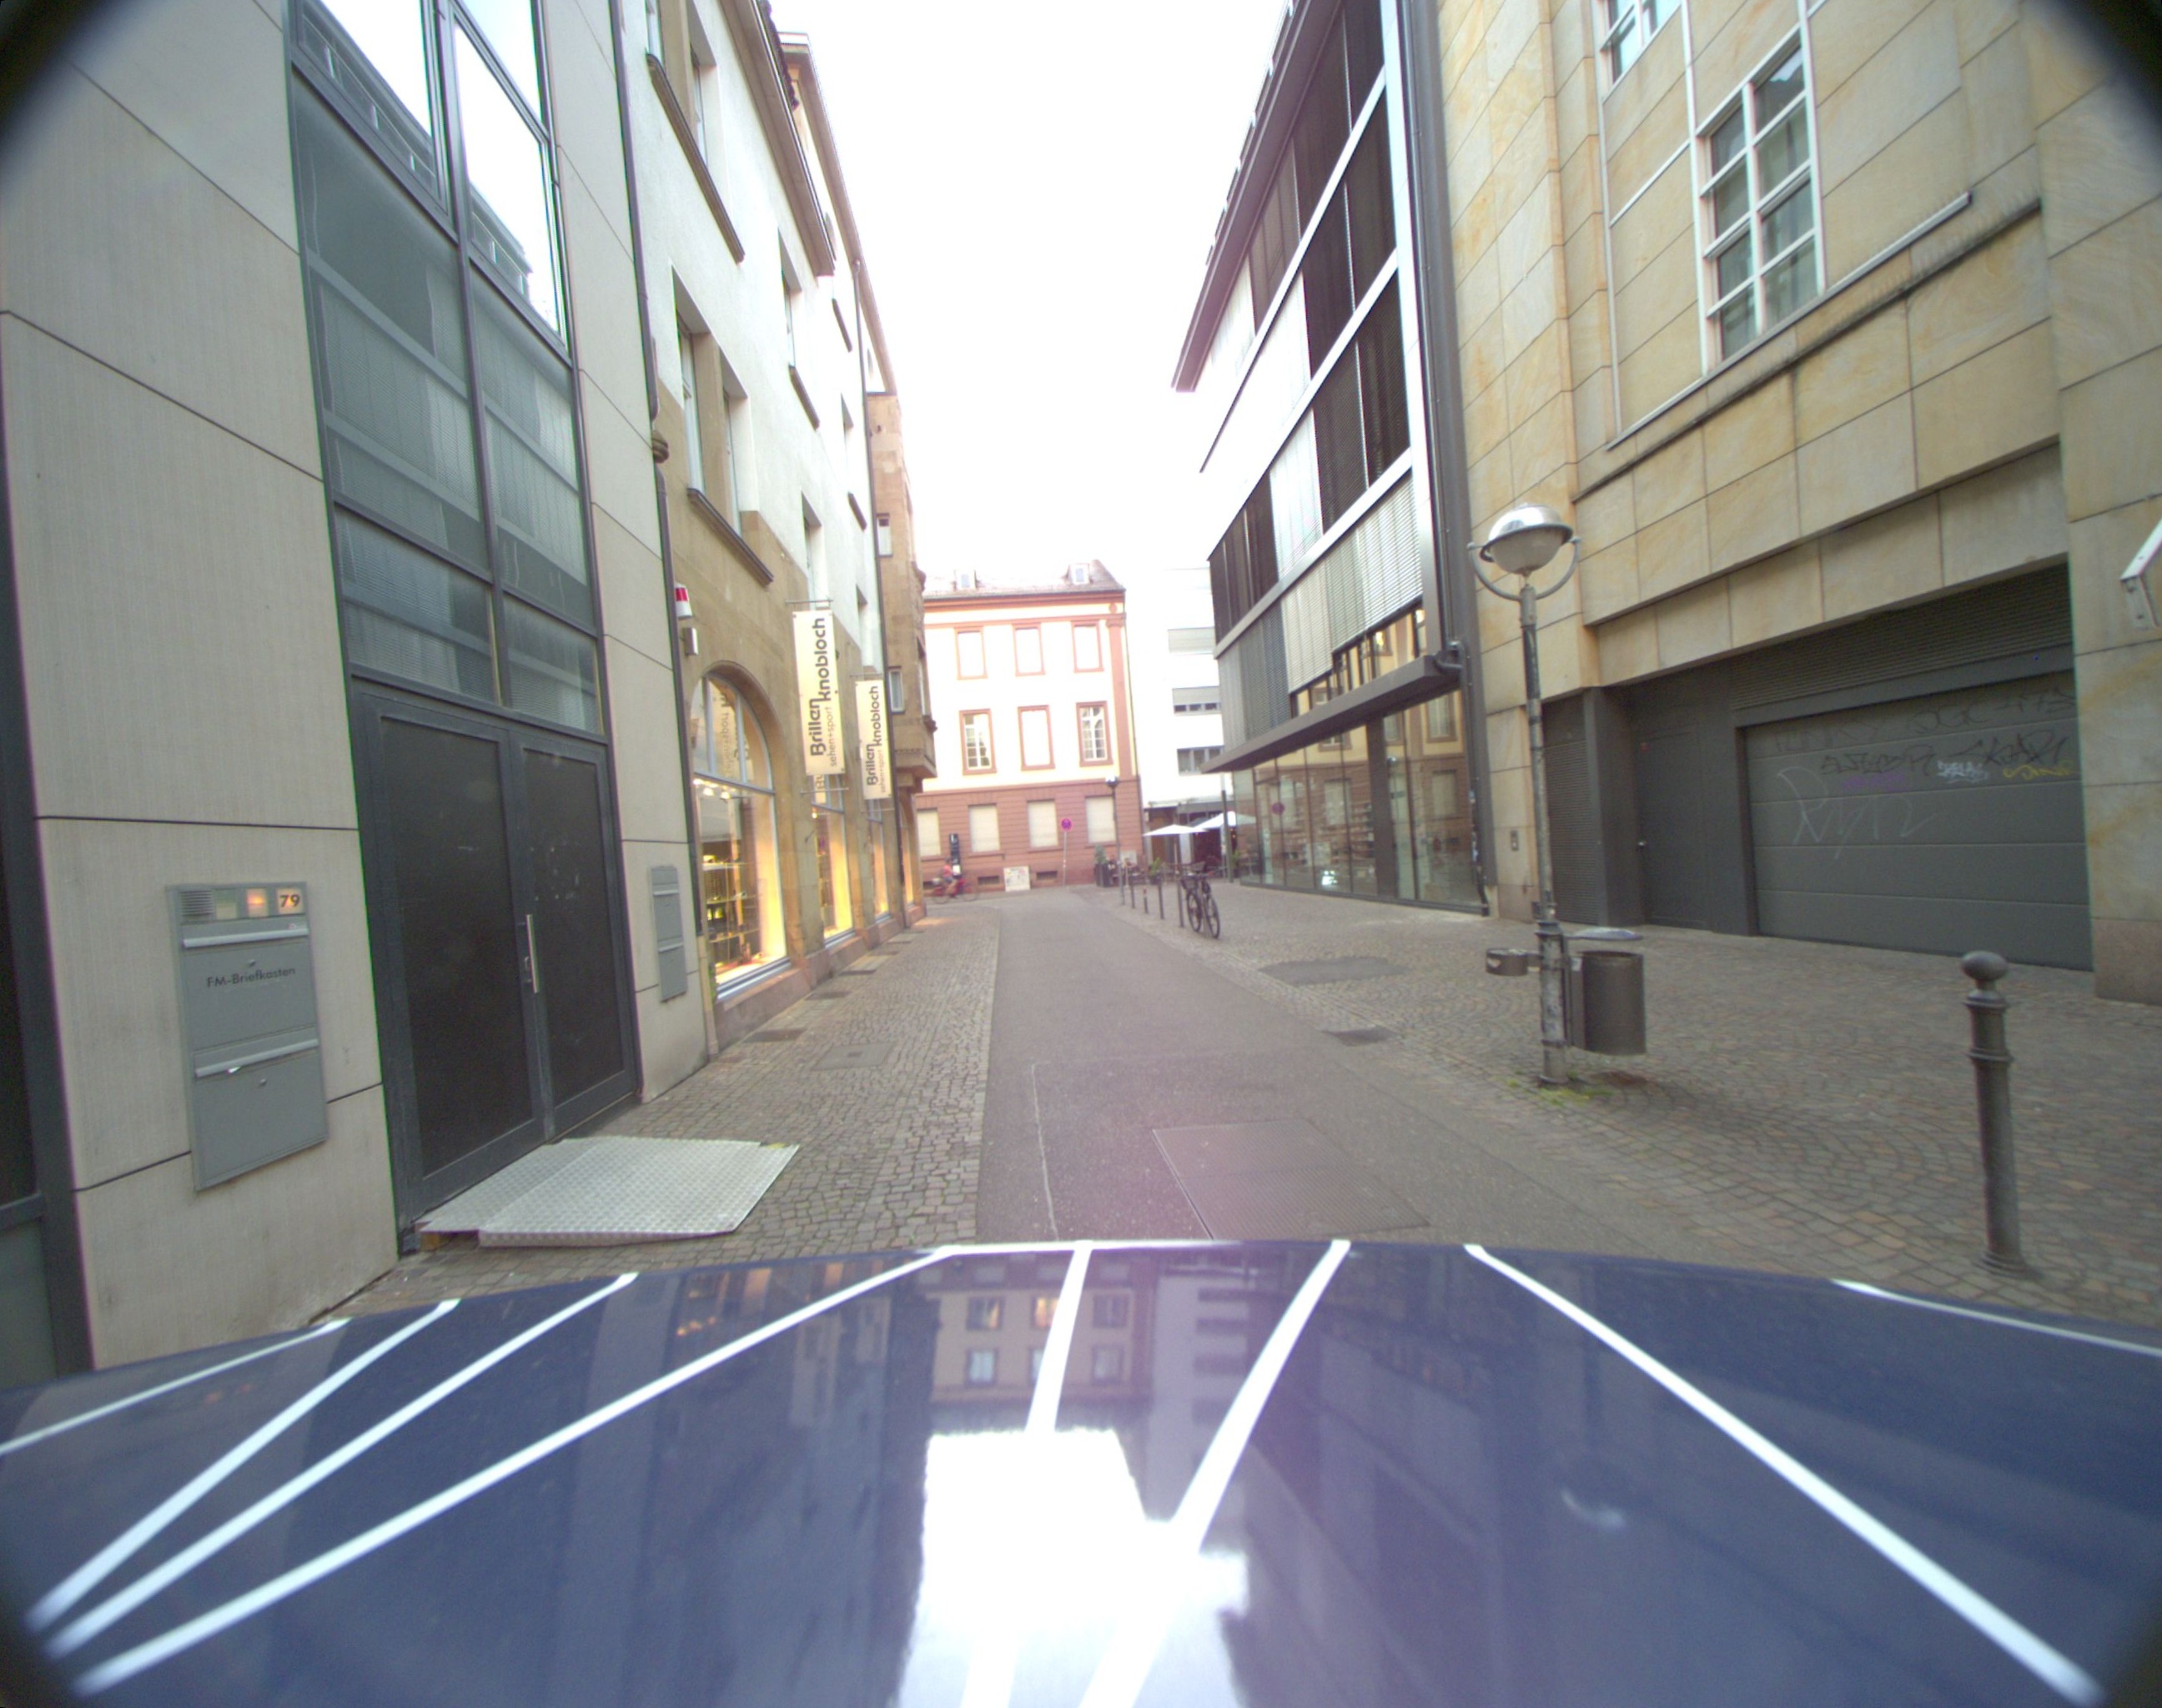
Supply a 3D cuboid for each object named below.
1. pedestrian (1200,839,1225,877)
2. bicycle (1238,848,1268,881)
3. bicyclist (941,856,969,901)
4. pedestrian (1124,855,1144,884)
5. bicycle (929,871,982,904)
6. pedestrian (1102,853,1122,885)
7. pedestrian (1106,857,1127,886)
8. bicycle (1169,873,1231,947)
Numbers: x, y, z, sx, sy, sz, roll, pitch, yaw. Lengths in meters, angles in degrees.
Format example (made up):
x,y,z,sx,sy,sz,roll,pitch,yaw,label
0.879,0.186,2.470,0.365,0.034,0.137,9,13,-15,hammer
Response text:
x,y,z,sx,sy,sz,roll,pitch,yaw,label
5.908,0.175,34.154,0.725,1.639,0.792,-5,1,-10,pedestrian
6.331,0.406,28.034,0.467,1.129,1.702,-5,-1,-5,bicycle
-5.072,0.974,30.588,0.900,1.694,0.630,-5,1,-4,bicyclist
2.348,0.672,33.686,0.673,1.177,0.792,-4,2,-7,pedestrian
-5.032,1.338,30.580,1.980,1.143,0.578,-5,1,-4,bicycle
1.386,0.661,34.150,0.673,1.324,0.792,-4,2,-7,pedestrian
1.513,0.750,32.636,0.674,1.177,0.792,-5,2,-10,pedestrian
2.029,0.922,13.194,0.411,1.126,1.929,-5,1,-9,bicycle
